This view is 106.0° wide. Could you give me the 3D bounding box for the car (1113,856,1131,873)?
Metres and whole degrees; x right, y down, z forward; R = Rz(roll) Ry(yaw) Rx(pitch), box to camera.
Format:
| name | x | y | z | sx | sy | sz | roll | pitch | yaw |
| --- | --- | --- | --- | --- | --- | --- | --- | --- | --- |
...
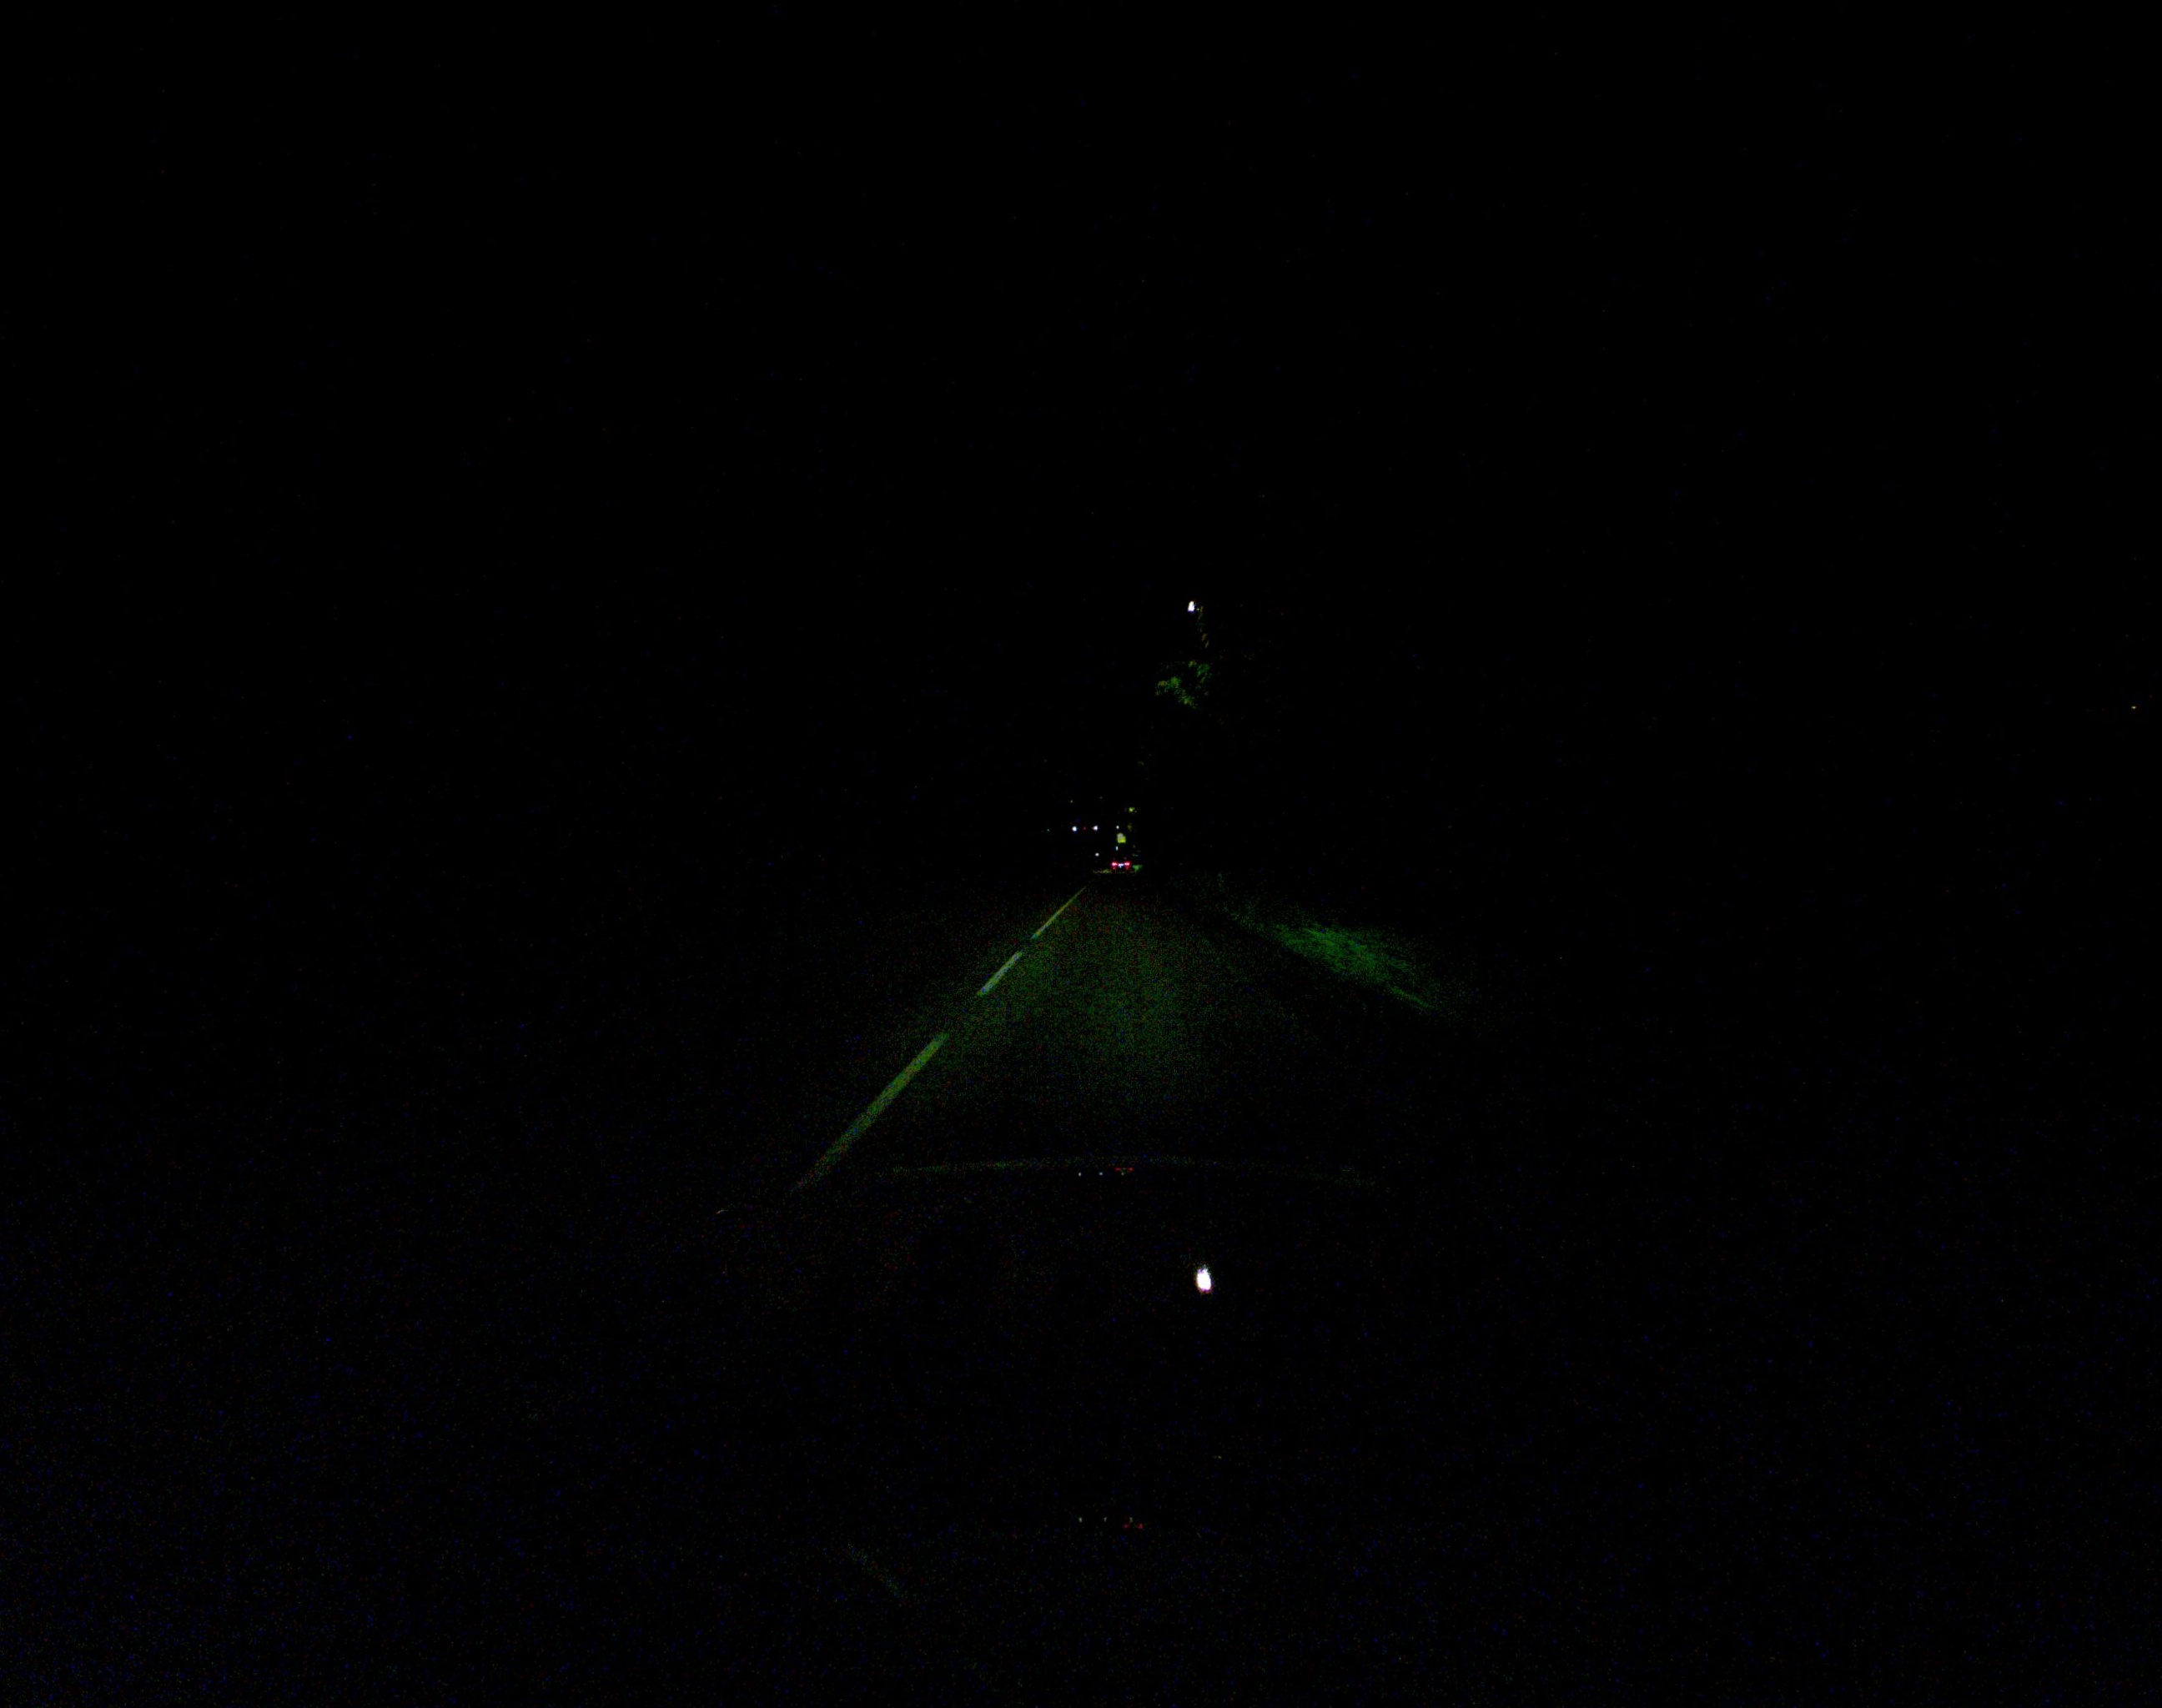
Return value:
| name | x | y | z | sx | sy | sz | roll | pitch | yaw |
| --- | --- | --- | --- | --- | --- | --- | --- | --- | --- |
| car | 4.217 | 1.057 | 83.776 | 1.755 | 1.641 | 3.726 | -1 | 0 | 4 |
